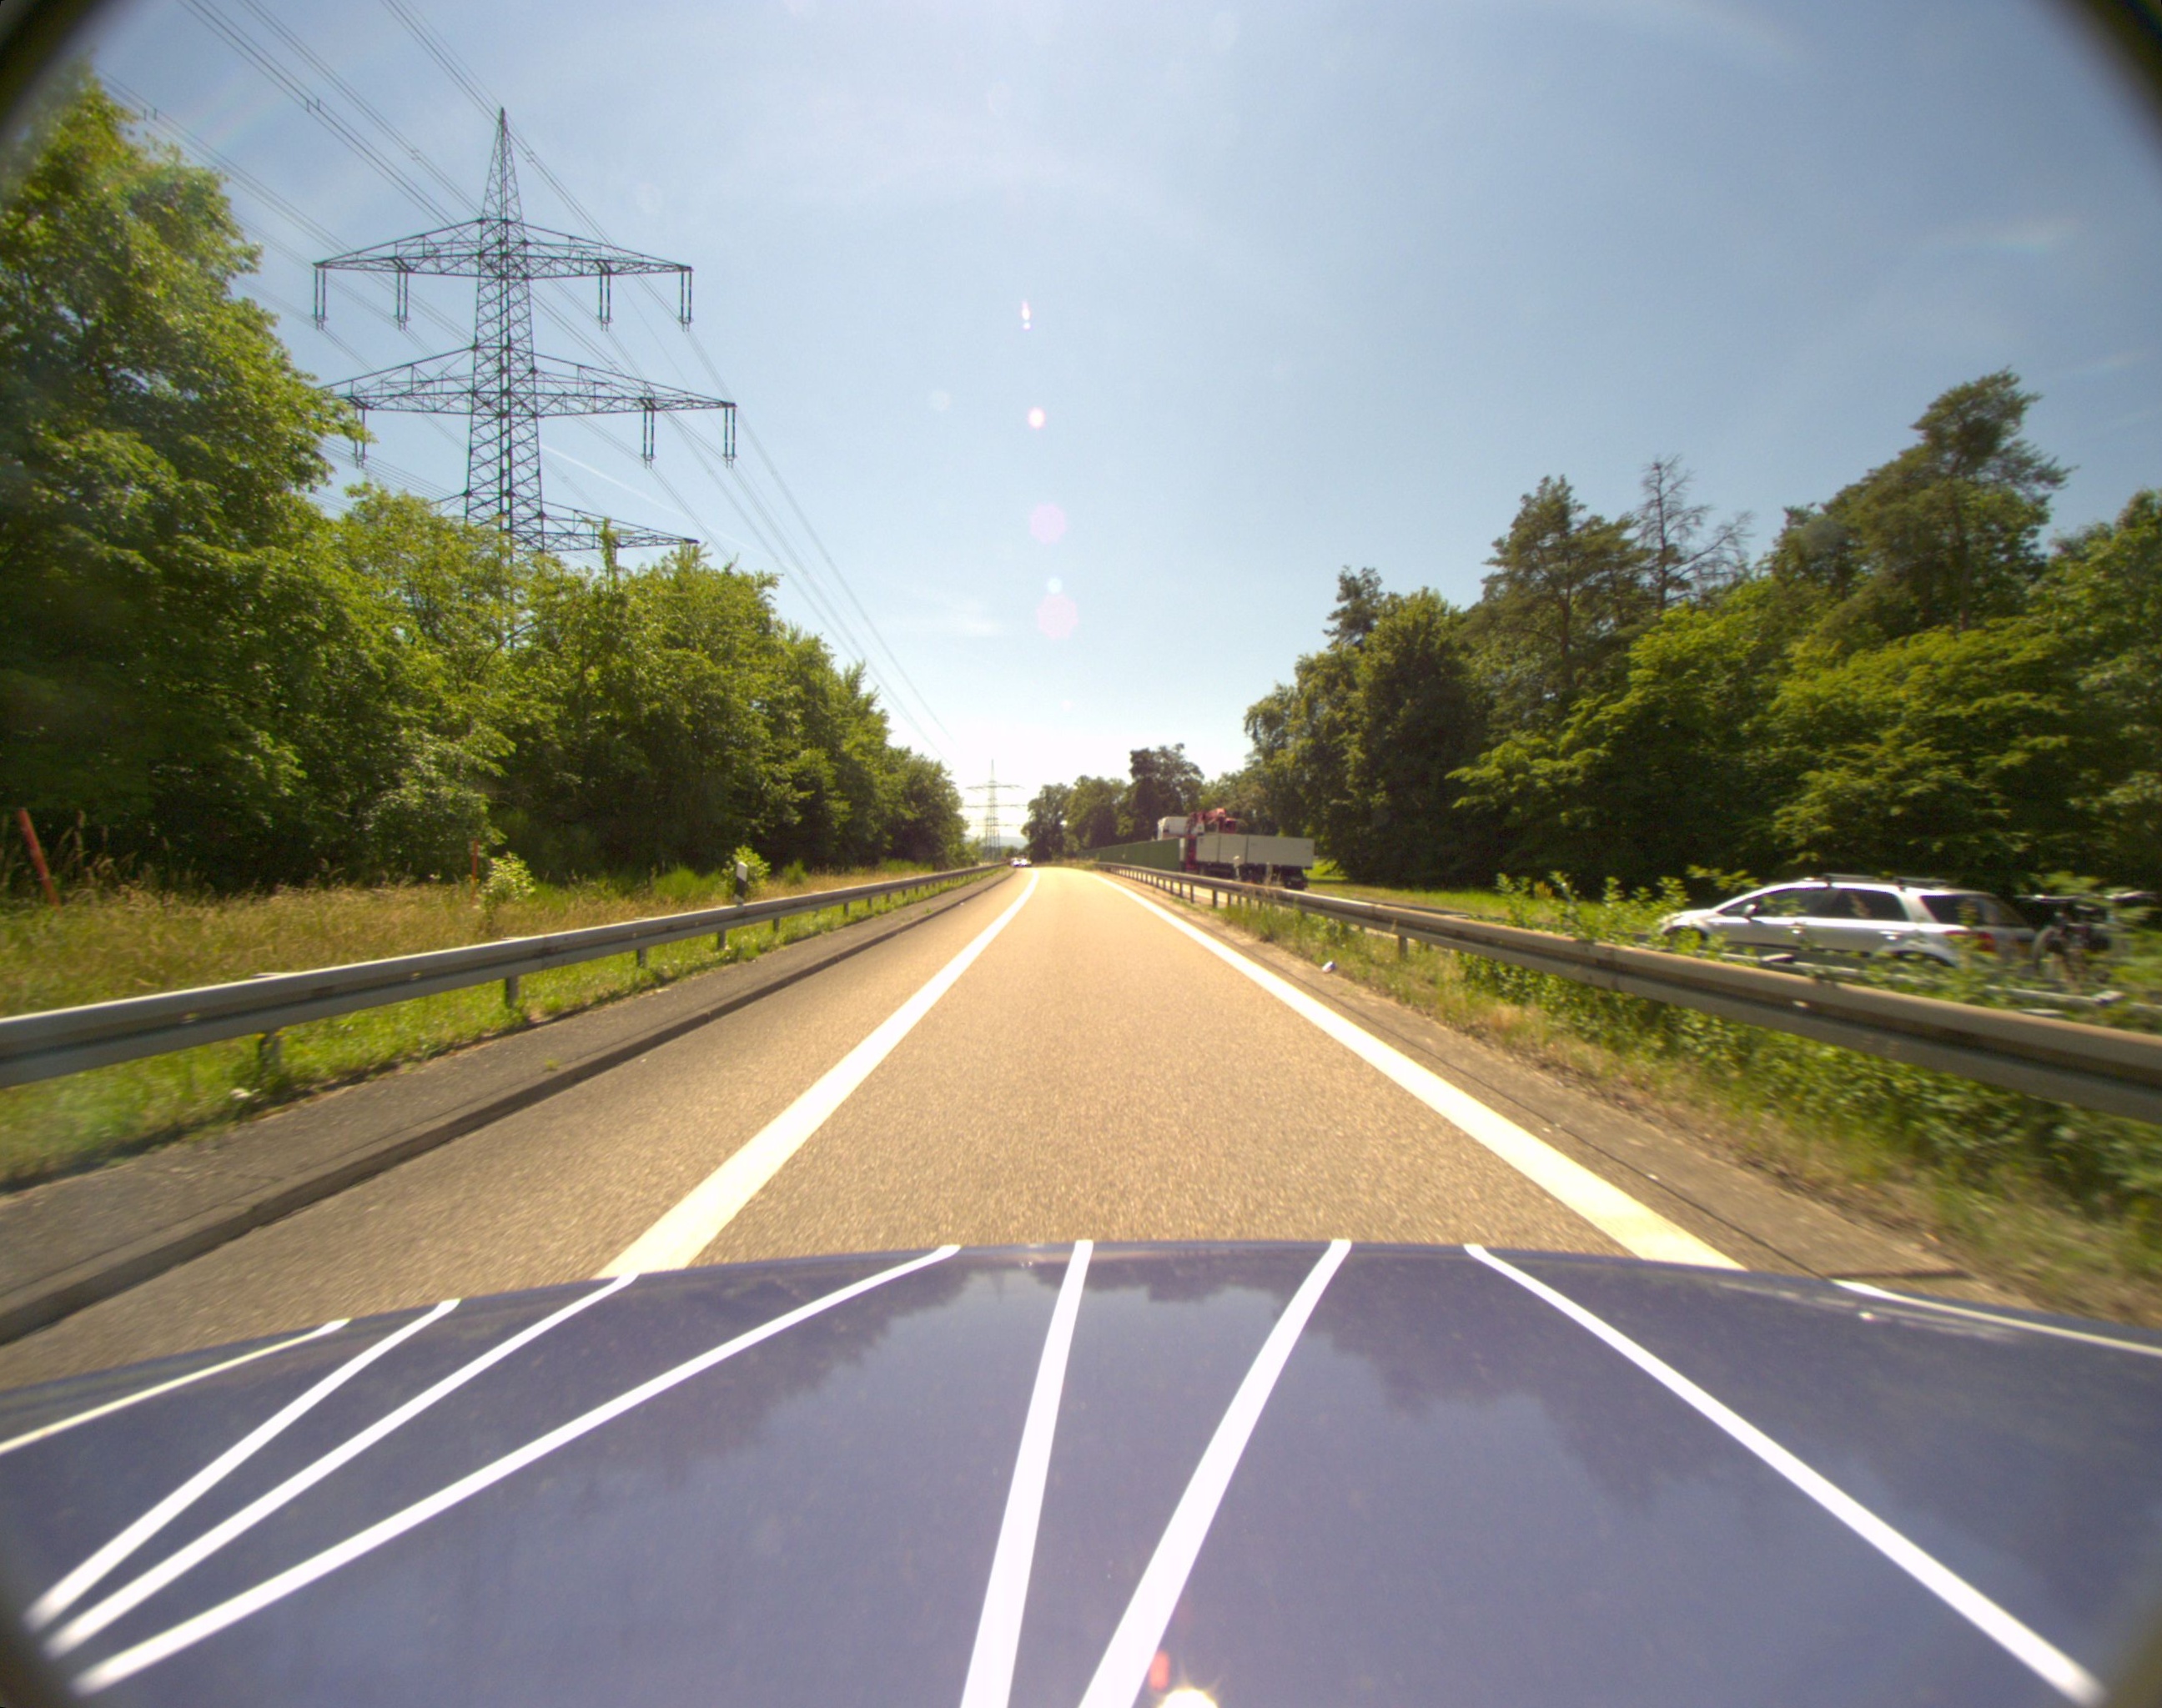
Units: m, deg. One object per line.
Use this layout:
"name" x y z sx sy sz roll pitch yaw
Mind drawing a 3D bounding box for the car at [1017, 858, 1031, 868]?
"car" -10.170 1.560 135.776 2.000 1.674 3.997 -2 0 -10

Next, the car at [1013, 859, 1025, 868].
"car" -12.429 1.897 151.827 2.000 1.674 3.997 -2 0 -10

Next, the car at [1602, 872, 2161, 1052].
"car" 10.607 1.188 10.580 2.002 1.631 5.260 1 1 -22
